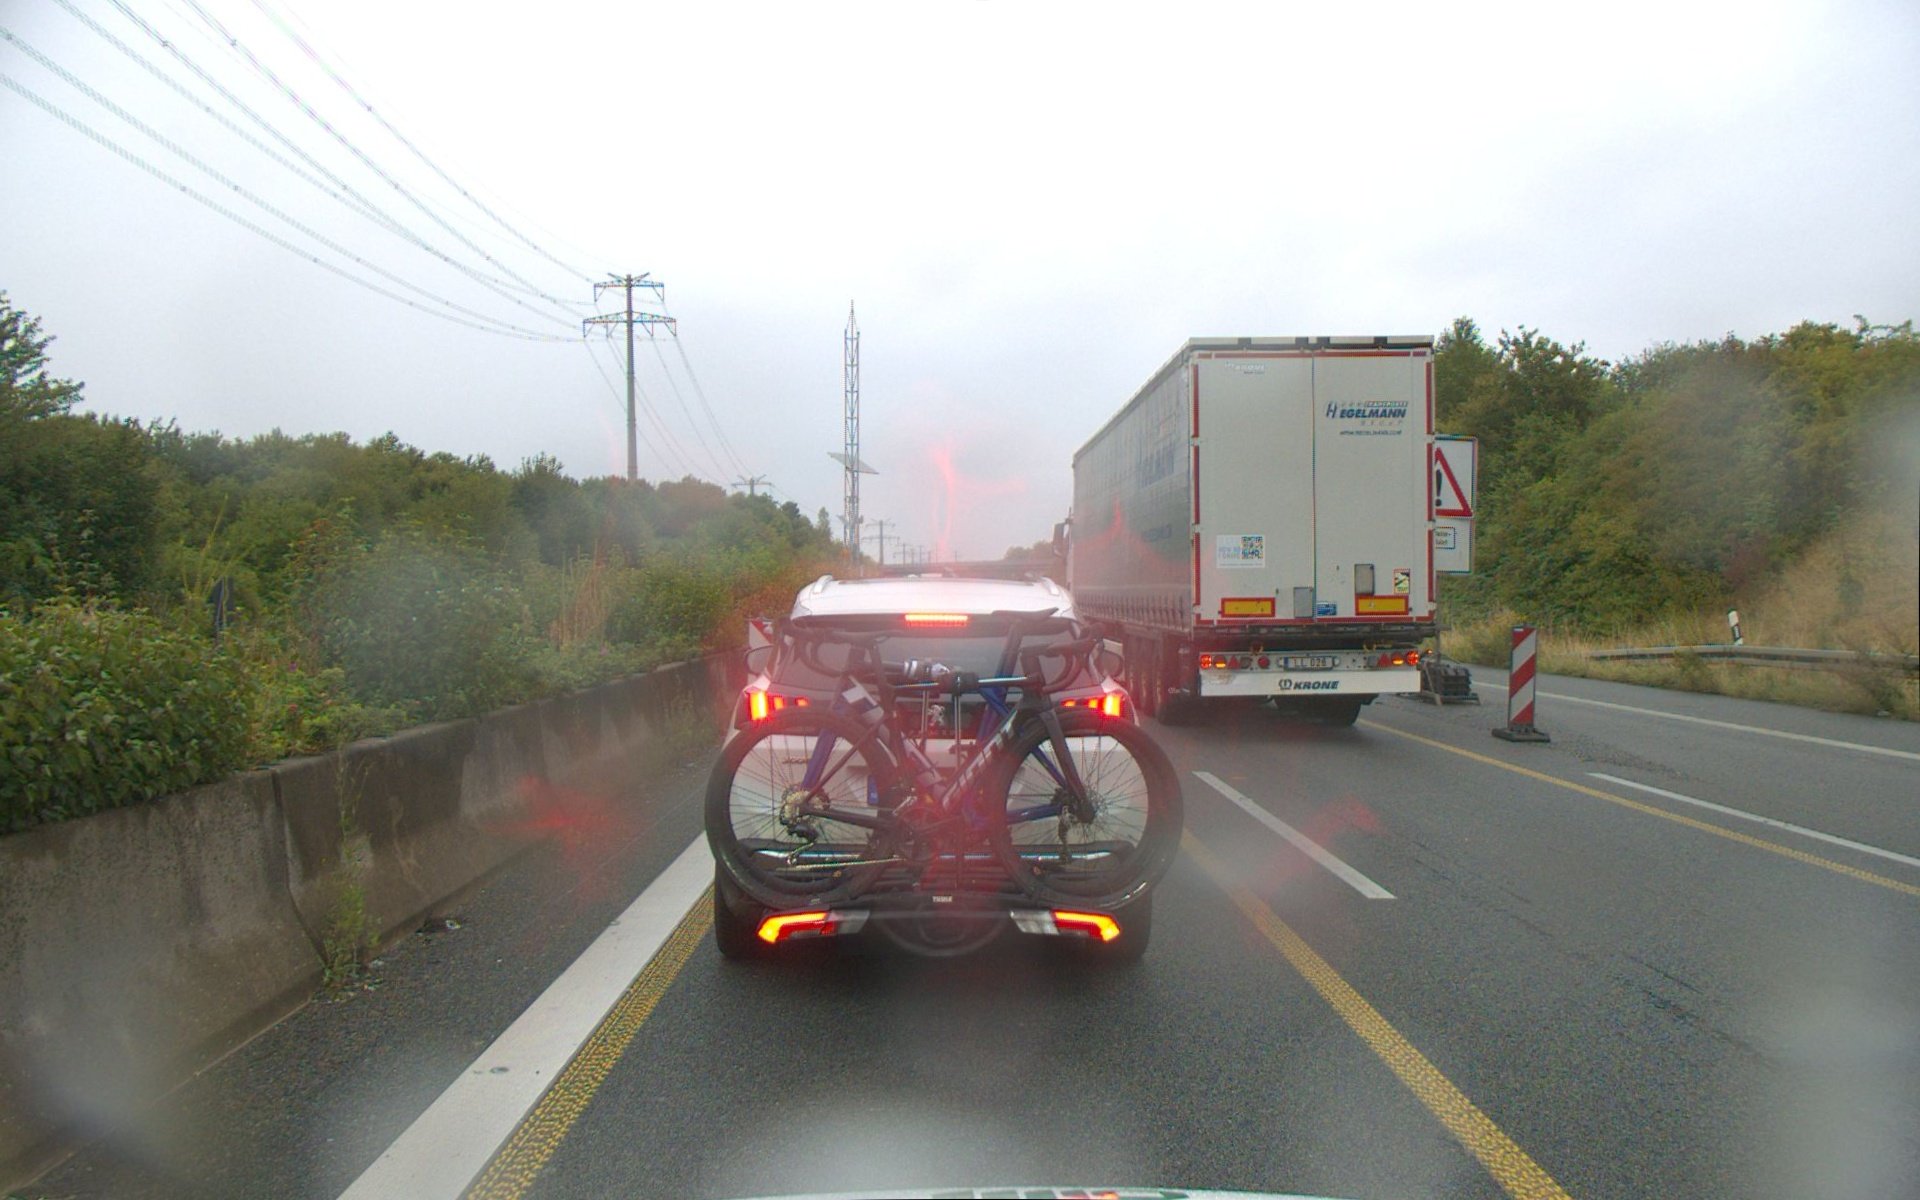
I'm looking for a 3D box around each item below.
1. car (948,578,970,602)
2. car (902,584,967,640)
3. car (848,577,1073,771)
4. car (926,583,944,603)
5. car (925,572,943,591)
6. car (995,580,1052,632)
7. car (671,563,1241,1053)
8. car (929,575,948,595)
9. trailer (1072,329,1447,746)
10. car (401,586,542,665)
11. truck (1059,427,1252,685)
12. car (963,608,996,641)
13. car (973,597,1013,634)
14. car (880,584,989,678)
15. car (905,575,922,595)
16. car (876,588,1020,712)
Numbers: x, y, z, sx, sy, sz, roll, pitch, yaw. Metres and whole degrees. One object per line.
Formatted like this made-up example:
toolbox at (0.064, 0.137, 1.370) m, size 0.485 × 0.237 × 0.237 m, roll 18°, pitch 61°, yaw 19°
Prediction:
car at (-0.111, -0.893, 146.055) m, size 1.892 × 2.008 × 4.000 m, roll 0°, pitch 1°, yaw -1°
car at (-0.731, 0.320, 47.688) m, size 1.812 × 1.557 × 3.999 m, roll 0°, pitch 0°, yaw -1°
car at (-0.023, 0.588, 15.336) m, size 1.812 × 1.557 × 3.999 m, roll 0°, pitch 0°, yaw -1°
car at (-2.646, -0.753, 173.973) m, size 1.892 × 2.008 × 4.000 m, roll 0°, pitch 1°, yaw -1°
car at (-2.779, -1.981, 179.219) m, size 1.892 × 2.008 × 4.000 m, roll 0°, pitch 1°, yaw -1°
car at (2.512, 0.211, 66.536) m, size 2.067 × 2.008 × 4.000 m, roll 0°, pitch 1°, yaw -1°
car at (-0.043, 0.653, 7.663) m, size 1.812 × 1.557 × 4.768 m, roll 0°, pitch 0°, yaw -1°
car at (-2.185, -1.484, 166.805) m, size 1.892 × 1.944 × 4.000 m, roll 0°, pitch 1°, yaw -1°
trailer at (3.454, -0.655, 23.331) m, size 2.638 × 4.148 × 13.631 m, roll 0°, pitch 0°, yaw -1°
car at (-11.614, 0.556, 39.709) m, size 1.953 × 1.757 × 5.058 m, roll 0°, pitch 0°, yaw -1°
truck at (3.348, -0.722, 29.879) m, size 2.606 × 4.148 × 6.538 m, roll 0°, pitch 0°, yaw -1°
car at (1.278, 1.628, 110.686) m, size 2.104 × 2.008 × 4.000 m, roll 0°, pitch 1°, yaw -1°
car at (1.893, 0.881, 94.869) m, size 2.105 × 2.008 × 3.999 m, roll 0°, pitch 1°, yaw -2°
car at (-0.450, 0.510, 29.608) m, size 1.812 × 1.557 × 3.999 m, roll 0°, pitch 0°, yaw -1°
car at (-5.980, -1.980, 213.913) m, size 2.212 × 2.467 × 4.000 m, roll 0°, pitch 1°, yaw -1°
car at (-0.179, 0.621, 22.888) m, size 1.812 × 1.557 × 3.999 m, roll 0°, pitch 0°, yaw -1°
